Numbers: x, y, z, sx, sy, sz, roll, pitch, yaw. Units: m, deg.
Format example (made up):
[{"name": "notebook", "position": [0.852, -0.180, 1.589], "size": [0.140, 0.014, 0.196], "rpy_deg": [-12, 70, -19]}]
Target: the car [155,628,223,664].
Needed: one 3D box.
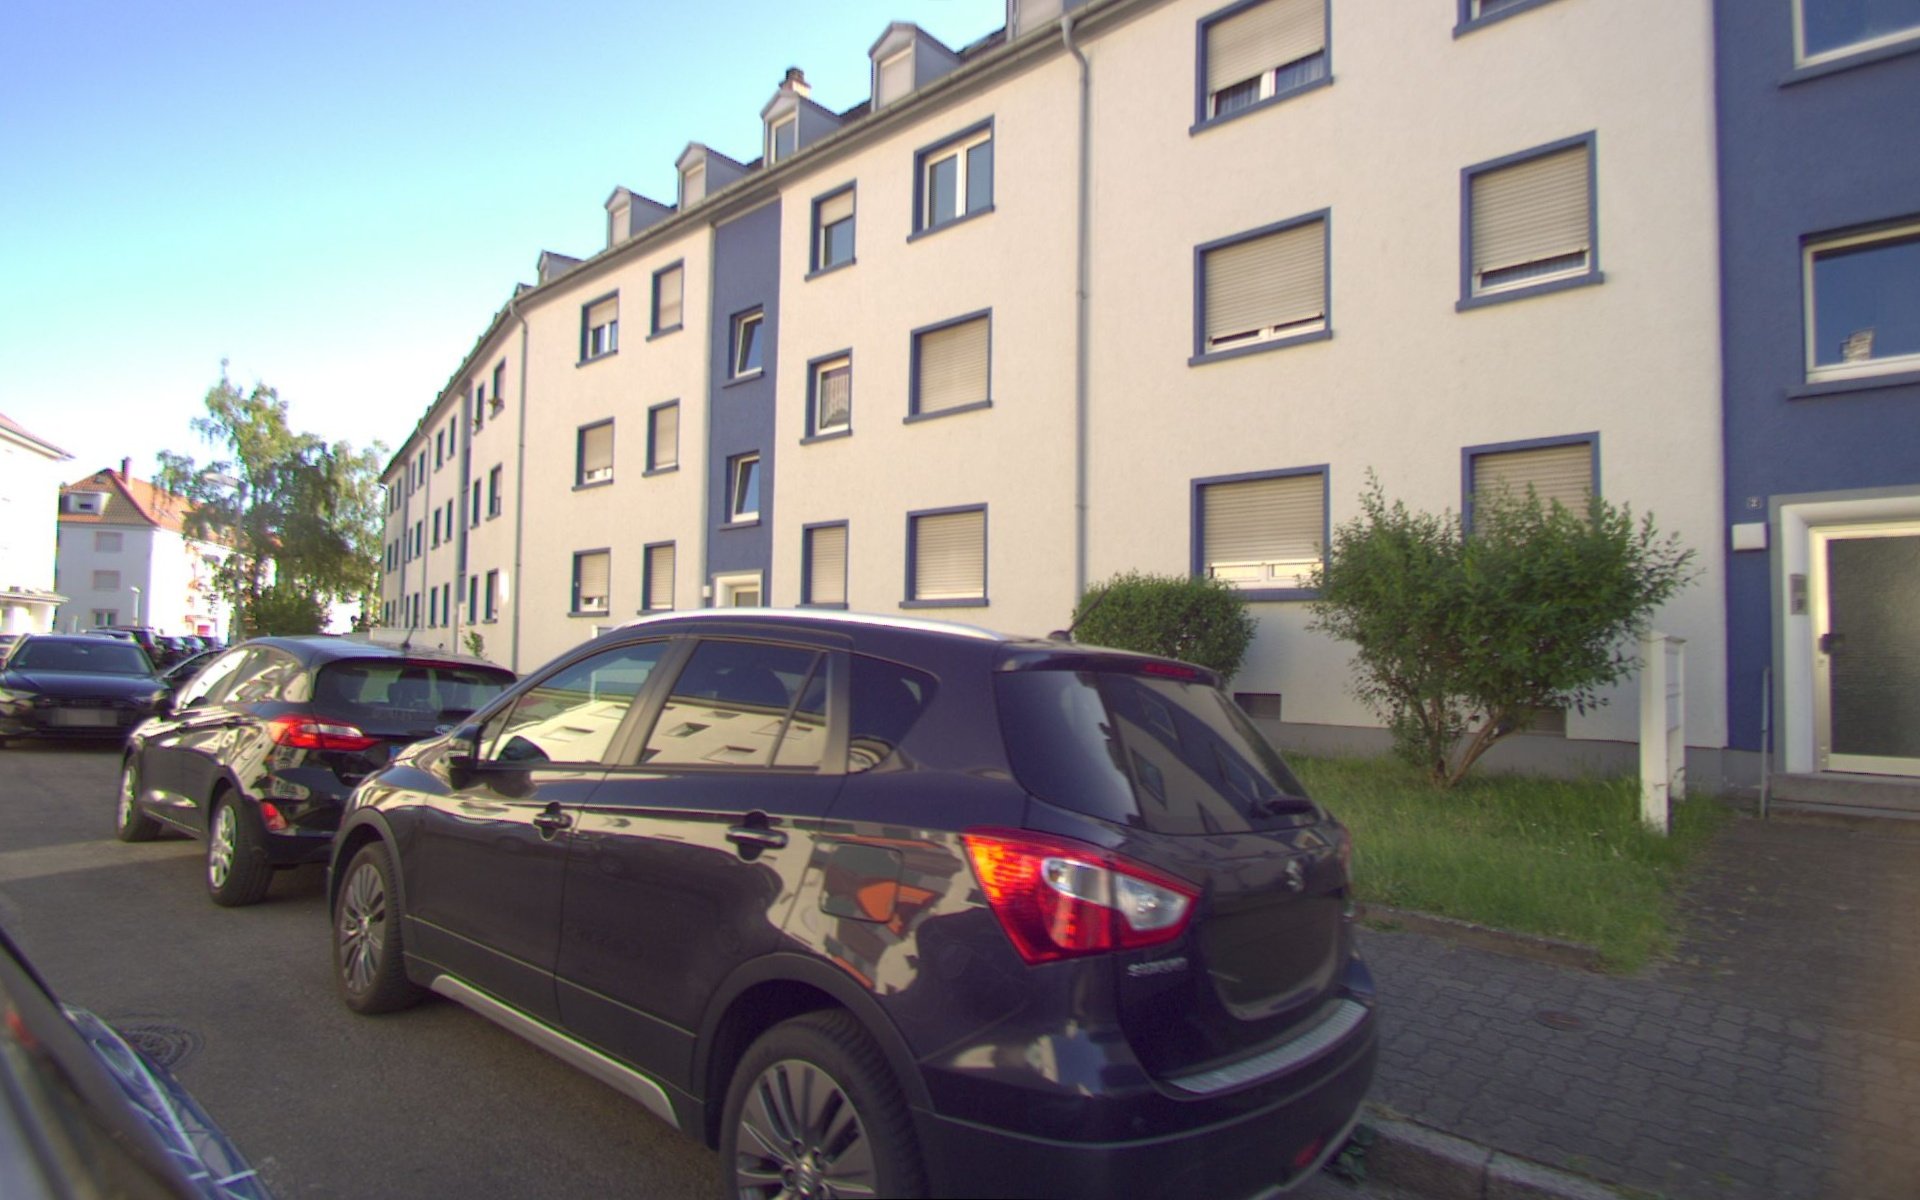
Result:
[{"name": "car", "position": [-38.049, 2.308, 50.044], "size": [1.614, 1.587, 3.659], "rpy_deg": [5, -5, -21]}]

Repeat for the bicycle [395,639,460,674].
[{"name": "bicycle", "position": [-16.351, 1.729, 31.077], "size": [1.707, 0.997, 0.463], "rpy_deg": [-1, -1, -35]}]

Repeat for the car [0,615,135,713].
[{"name": "car", "position": [-16.239, 1.137, 18.206], "size": [1.721, 1.528, 3.986], "rpy_deg": [8, -7, -43]}]

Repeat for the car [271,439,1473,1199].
[{"name": "car", "position": [-0.694, 0.675, 3.528], "size": [4.162, 1.603, 1.656], "rpy_deg": [-1, -8, 41]}]

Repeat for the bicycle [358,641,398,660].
[{"name": "bicycle", "position": [-24.908, 2.152, 43.316], "size": [1.435, 0.770, 0.310], "rpy_deg": [-1, -1, -35]}]

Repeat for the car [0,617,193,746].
[{"name": "car", "position": [-12.079, 1.051, 13.676], "size": [4.396, 1.470, 1.879], "rpy_deg": [-2, -7, 43]}]

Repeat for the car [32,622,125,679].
[{"name": "car", "position": [-26.733, 1.546, 30.787], "size": [1.615, 1.559, 3.657], "rpy_deg": [7, -6, -35]}]

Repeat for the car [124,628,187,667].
[{"name": "car", "position": [-35.976, 2.155, 45.327], "size": [1.615, 1.587, 3.658], "rpy_deg": [6, -6, -31]}]

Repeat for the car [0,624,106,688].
[{"name": "car", "position": [-23.132, 1.431, 25.909], "size": [1.693, 1.422, 3.990], "rpy_deg": [7, -6, -38]}]

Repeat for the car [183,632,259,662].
[{"name": "car", "position": [-39.853, 2.563, 54.654], "size": [1.551, 1.436, 3.985], "rpy_deg": [4, -5, -9]}]

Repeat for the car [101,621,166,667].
[{"name": "car", "position": [-33.218, 1.791, 40.774], "size": [1.615, 1.653, 3.657], "rpy_deg": [7, -6, -35]}]

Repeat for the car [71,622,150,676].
[{"name": "car", "position": [-29.802, 1.746, 35.595], "size": [1.615, 1.715, 3.657], "rpy_deg": [6, -6, -34]}]

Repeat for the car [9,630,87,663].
[{"name": "car", "position": [-44.603, 2.298, 49.585], "size": [1.728, 1.440, 4.104], "rpy_deg": [4, -5, -27]}]

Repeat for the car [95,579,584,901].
[{"name": "car", "position": [-4.231, 0.786, 6.684], "size": [3.701, 1.530, 1.626], "rpy_deg": [-1, -7, 42]}]

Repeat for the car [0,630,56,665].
[{"name": "car", "position": [-41.578, 2.078, 44.452], "size": [1.728, 1.440, 4.480], "rpy_deg": [5, -5, -28]}]

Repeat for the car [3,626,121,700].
[{"name": "car", "position": [-19.811, 1.364, 22.309], "size": [1.694, 1.422, 3.987], "rpy_deg": [8, -7, -42]}]
